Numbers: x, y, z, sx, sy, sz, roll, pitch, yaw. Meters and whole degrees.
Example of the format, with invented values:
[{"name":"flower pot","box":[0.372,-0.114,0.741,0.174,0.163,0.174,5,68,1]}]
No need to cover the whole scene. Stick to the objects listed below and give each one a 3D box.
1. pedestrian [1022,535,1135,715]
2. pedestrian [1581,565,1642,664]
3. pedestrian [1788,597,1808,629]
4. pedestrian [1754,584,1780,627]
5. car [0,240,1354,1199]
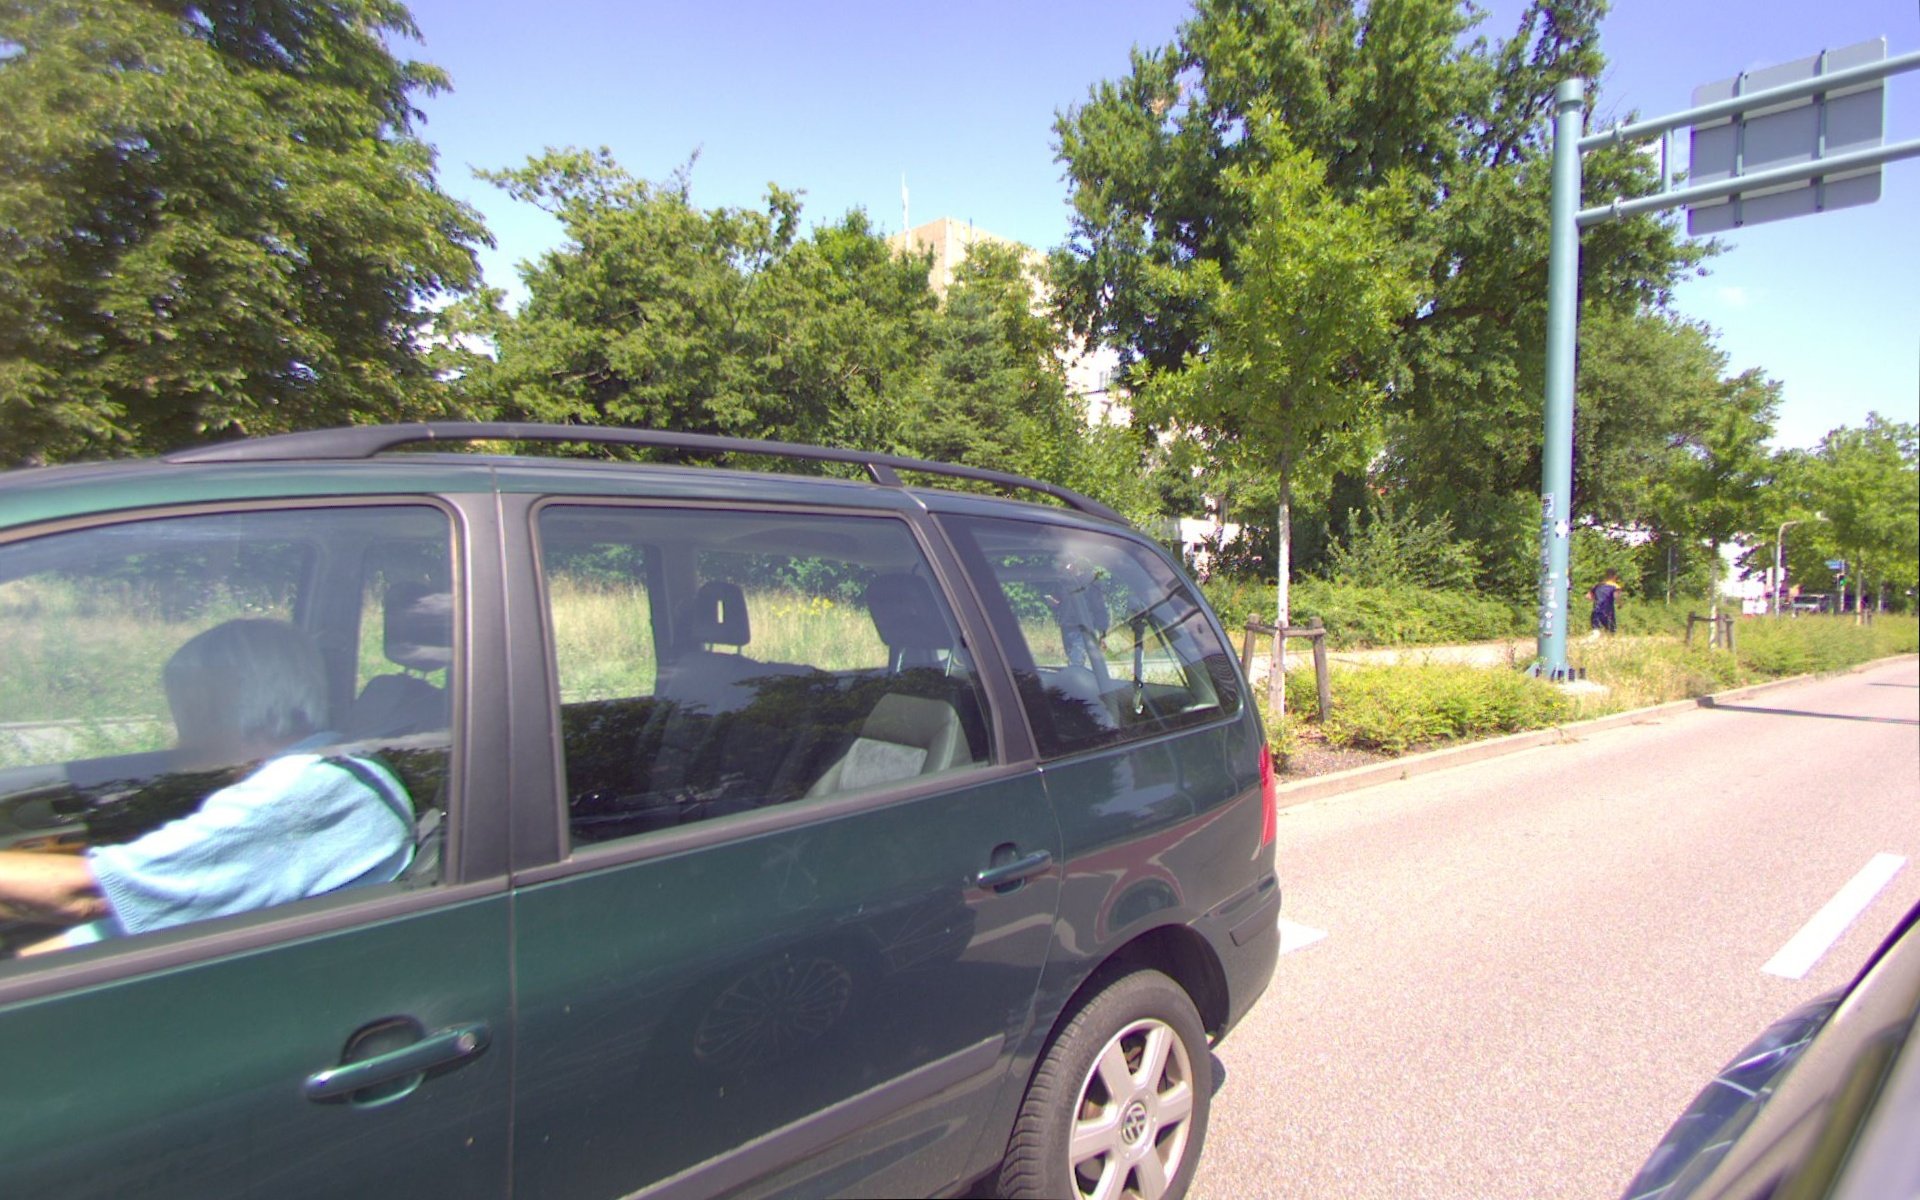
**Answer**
[{"name":"pedestrian","box":[1.178,0.228,10.121,0.799,1.705,0.762,1,1,-29]},{"name":"pedestrian","box":[12.161,0.260,18.886,0.869,1.787,0.640,1,1,-35]},{"name":"pedestrian","box":[42.620,0.655,51.476,0.763,1.630,0.754,2,1,38]},{"name":"pedestrian","box":[39.595,0.255,49.658,0.838,2.063,0.892,1,0,29]},{"name":"car","box":[-1.152,0.527,1.973,4.315,1.737,1.804,0,-1,-41]}]
